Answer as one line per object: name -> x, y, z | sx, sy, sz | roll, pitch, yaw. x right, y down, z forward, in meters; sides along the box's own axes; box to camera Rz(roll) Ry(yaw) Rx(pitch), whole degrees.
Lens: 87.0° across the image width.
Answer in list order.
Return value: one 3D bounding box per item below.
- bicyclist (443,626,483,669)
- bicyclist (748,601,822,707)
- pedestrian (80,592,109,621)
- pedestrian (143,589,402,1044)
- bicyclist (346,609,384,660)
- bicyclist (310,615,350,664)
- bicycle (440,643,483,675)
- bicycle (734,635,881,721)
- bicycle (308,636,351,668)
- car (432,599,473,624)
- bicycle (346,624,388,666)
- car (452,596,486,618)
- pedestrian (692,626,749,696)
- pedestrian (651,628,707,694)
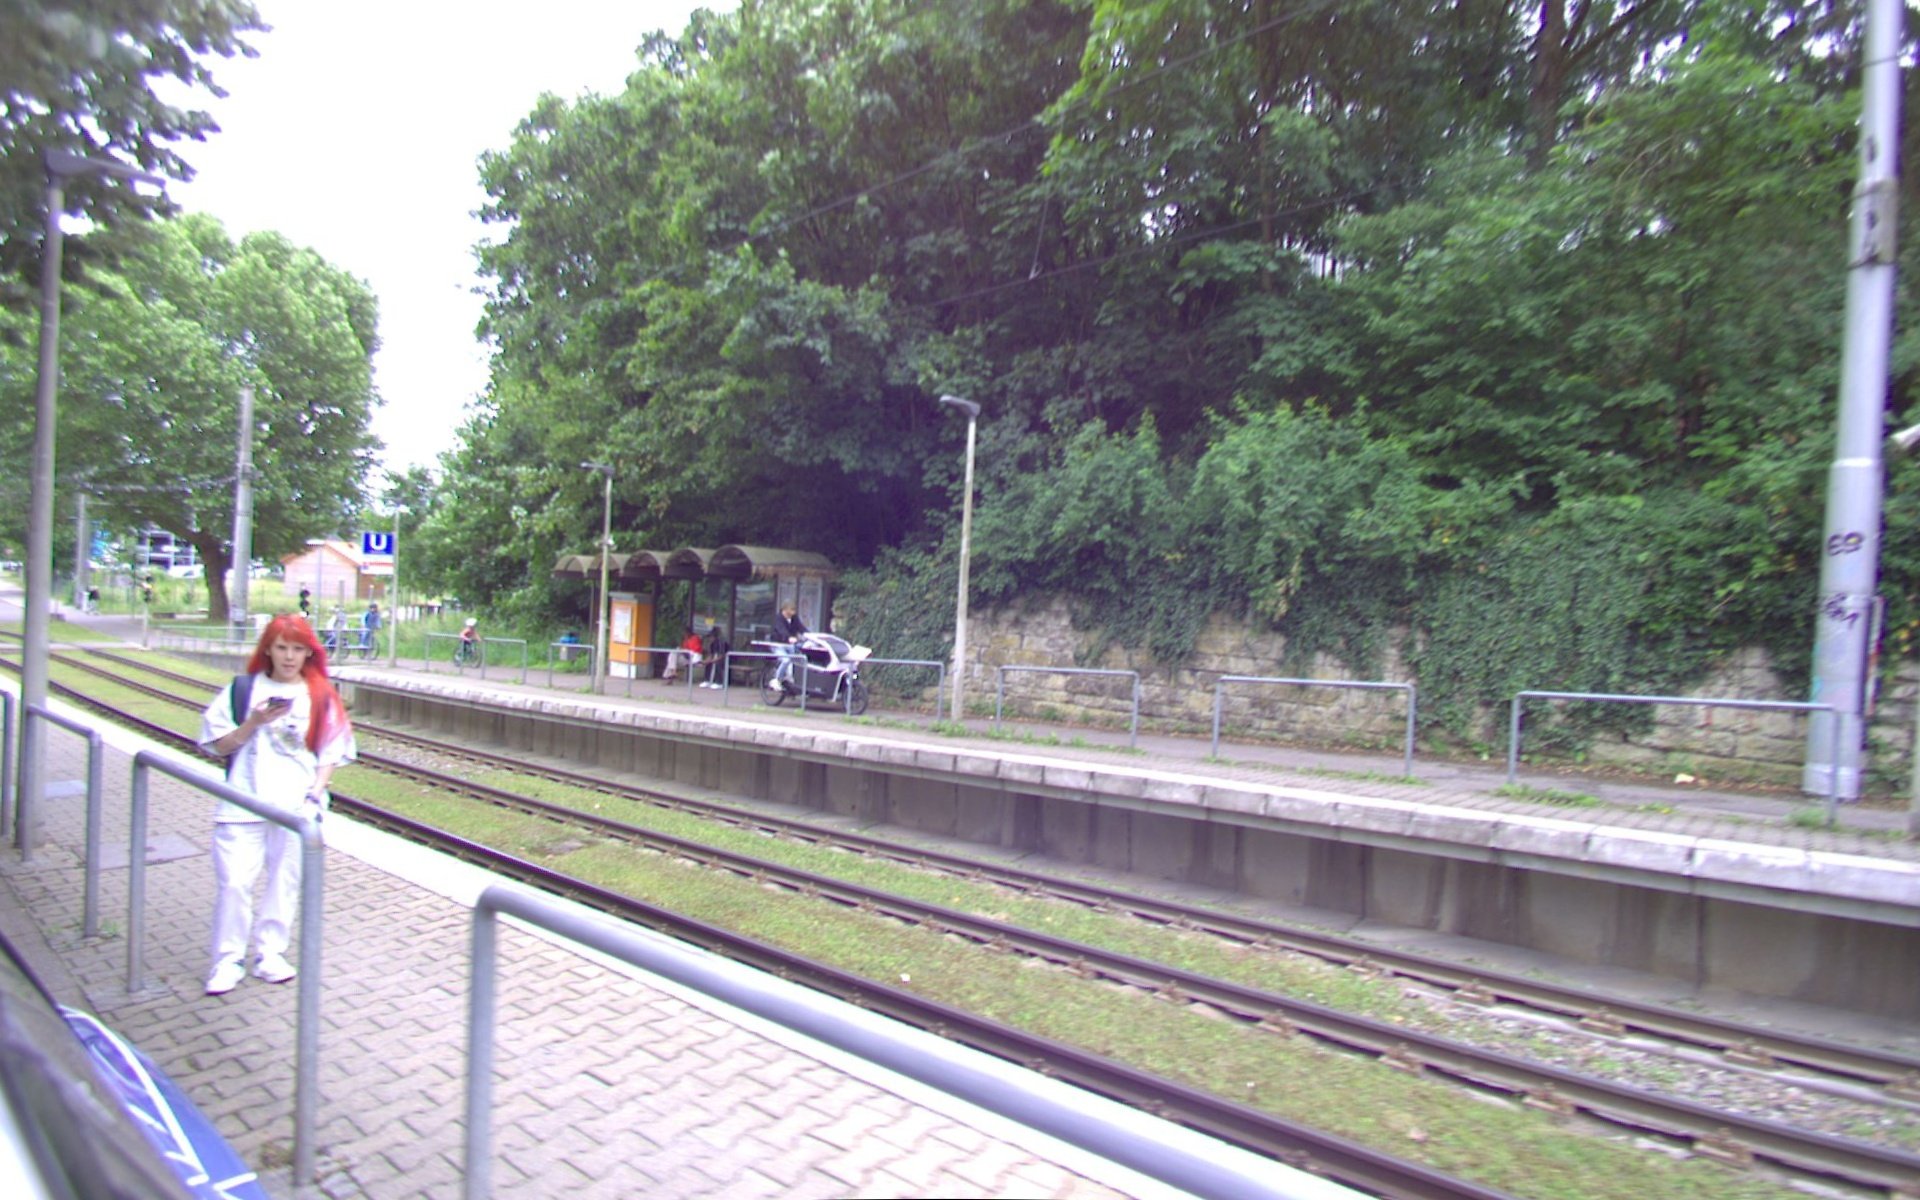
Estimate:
bicyclist -> -12.793, 1.215, 26.048 | 0.744, 1.061, 0.682 | -2, -2, 41
bicyclist -> -2.836, 0.856, 16.411 | 1.033, 1.641, 0.696 | -2, -1, 44
pedestrian -> -52.189, 0.408, 61.006 | 1.100, 1.747, 0.696 | 1, -1, -13
pedestrian -> -2.616, 0.731, 3.856 | 0.738, 1.514, 0.619 | -2, -2, 38
bicyclist -> -17.446, 1.007, 29.692 | 0.839, 1.454, 0.722 | -2, -2, 40
bicyclist -> -18.914, 1.181, 30.387 | 0.906, 1.442, 0.738 | -3, -3, 36
bicycle -> -12.846, 1.501, 26.063 | 1.564, 0.787, 0.445 | -2, -2, 42
bicycle -> -2.481, 1.186, 16.106 | 2.868, 1.249, 0.742 | -2, -1, 45
bicycle -> -18.924, 1.571, 30.371 | 1.841, 0.932, 0.473 | -3, -3, 37
car -> -36.034, 0.784, 71.885 | 1.966, 1.696, 4.012 | 1, 0, -18
bicycle -> -17.418, 1.328, 29.707 | 1.939, 1.197, 0.458 | -2, -2, 41
car -> -40.359, 0.559, 83.274 | 1.966, 1.696, 4.012 | 1, 0, -18
pedestrian -> -4.903, 1.227, 20.744 | 0.772, 1.385, 0.813 | 0, -1, 35
pedestrian -> -5.942, 1.266, 21.417 | 0.772, 1.333, 0.813 | 0, -1, 35
